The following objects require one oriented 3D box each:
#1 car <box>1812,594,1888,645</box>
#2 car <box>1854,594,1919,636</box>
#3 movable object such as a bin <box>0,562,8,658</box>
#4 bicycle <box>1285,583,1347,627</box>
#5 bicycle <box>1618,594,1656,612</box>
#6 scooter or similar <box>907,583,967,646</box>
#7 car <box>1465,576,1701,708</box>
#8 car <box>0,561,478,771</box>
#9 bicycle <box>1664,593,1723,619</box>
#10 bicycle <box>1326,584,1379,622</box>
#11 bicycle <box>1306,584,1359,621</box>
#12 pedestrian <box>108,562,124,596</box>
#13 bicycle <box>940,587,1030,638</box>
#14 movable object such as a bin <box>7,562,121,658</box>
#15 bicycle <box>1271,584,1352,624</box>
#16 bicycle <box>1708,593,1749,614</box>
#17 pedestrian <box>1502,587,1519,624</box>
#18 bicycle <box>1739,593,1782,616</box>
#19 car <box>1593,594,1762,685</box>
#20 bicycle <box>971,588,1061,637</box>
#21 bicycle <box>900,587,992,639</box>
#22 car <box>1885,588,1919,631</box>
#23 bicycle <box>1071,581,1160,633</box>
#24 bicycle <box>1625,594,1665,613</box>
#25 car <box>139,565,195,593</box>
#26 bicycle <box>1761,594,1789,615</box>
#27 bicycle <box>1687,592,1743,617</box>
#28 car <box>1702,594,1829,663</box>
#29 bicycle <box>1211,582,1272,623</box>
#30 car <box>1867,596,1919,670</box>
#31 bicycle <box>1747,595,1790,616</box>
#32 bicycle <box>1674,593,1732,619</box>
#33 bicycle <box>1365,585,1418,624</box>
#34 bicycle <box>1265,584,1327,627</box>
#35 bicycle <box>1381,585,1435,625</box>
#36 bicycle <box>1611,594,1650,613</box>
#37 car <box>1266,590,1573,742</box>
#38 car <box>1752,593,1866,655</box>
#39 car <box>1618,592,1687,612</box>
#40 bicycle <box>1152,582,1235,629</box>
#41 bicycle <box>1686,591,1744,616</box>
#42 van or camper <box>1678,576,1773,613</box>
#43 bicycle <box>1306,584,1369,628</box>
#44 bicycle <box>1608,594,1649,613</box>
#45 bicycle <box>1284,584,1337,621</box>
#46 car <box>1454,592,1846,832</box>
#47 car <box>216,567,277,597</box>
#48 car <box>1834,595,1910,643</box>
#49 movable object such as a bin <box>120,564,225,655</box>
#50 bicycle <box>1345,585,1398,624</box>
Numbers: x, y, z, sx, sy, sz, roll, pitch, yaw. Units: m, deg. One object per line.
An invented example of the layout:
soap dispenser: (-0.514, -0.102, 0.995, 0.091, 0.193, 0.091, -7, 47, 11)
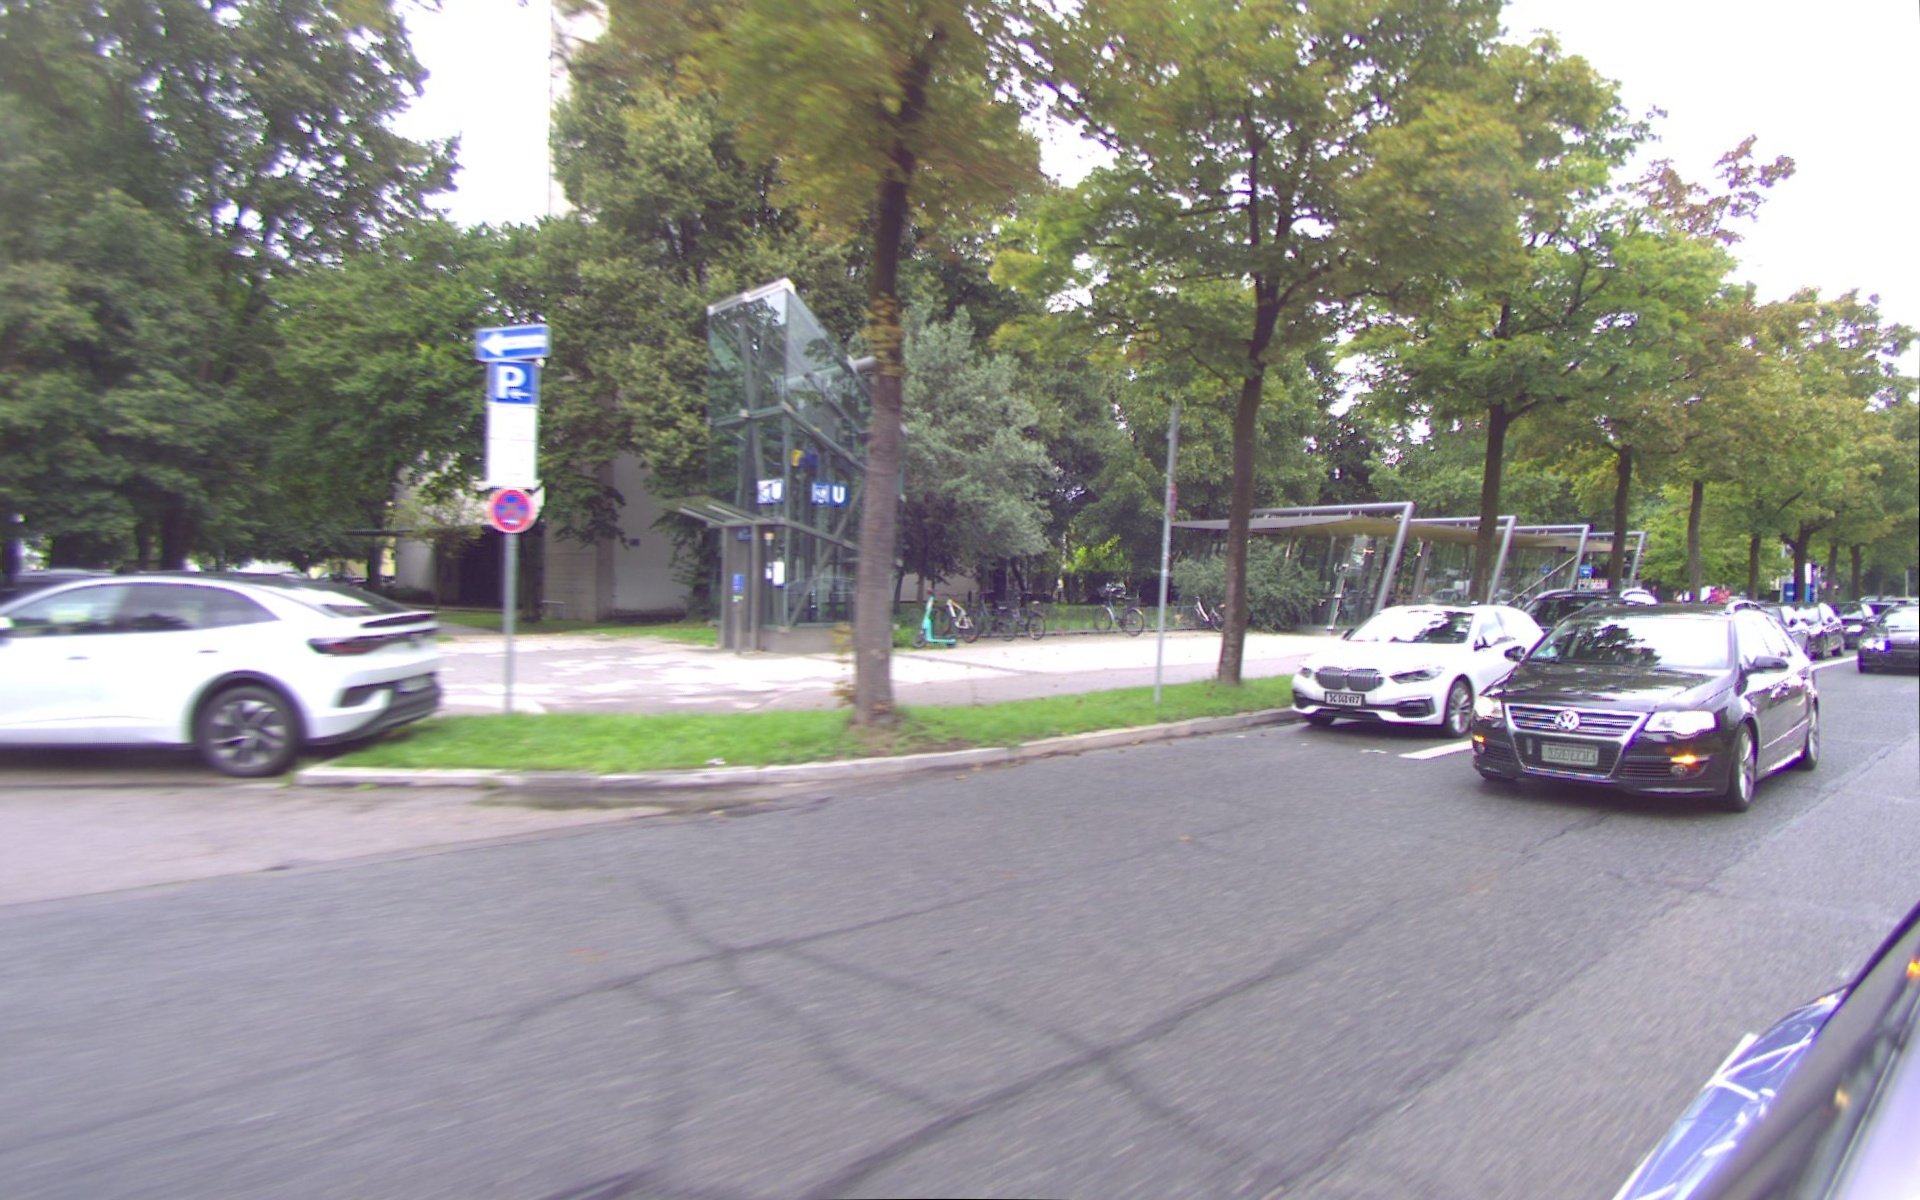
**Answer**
car: (28.971, 0.577, 32.918, 4.023, 1.554, 1.543, 0, 0, -44)
car: (36.405, 0.560, 39.640, 4.429, 1.527, 1.703, 0, -1, -44)
movable object such as a bin: (-15.051, 0.136, 15.030, 1.292, 1.427, 1.338, 0, 1, -42)
bicycle: (10.979, 0.148, 31.141, 2.506, 1.296, 0.646, 0, 1, -41)
bicycle: (45.584, 0.218, 68.135, 2.088, 1.168, 0.718, 1, 1, 0)
scooter or similar: (-0.469, 0.290, 20.778, 1.214, 1.248, 0.421, 0, 0, -39)
car: (9.457, 0.522, 15.211, 4.516, 1.696, 1.789, 0, 1, -42)
car: (-7.095, 0.510, 8.933, 4.751, 1.645, 1.975, 0, 0, -3)
bicycle: (37.631, 0.290, 51.972, 0.520, 1.171, 2.344, 1, 3, -40)
bicycle: (13.900, 0.101, 35.787, 2.506, 1.296, 0.646, 0, 1, -41)
bicycle: (13.400, 0.070, 36.370, 2.506, 1.296, 0.646, 0, 1, -41)
pedestrian: (-46.131, -1.157, 55.345, 0.610, 1.817, 0.595, 1, 1, 43)
bicycle: (0.560, 0.272, 24.198, 0.636, 1.102, 2.547, 0, 1, -40)
movable object such as a bin: (-14.065, 0.132, 15.918, 1.292, 1.427, 1.338, 0, 1, -42)
bicycle: (11.845, 0.116, 34.147, 2.534, 1.296, 0.486, 2, 1, 35)
bicycle: (45.853, 0.204, 60.386, 0.556, 1.156, 1.813, 0, 3, -35)
pedestrian: (23.341, 0.226, 42.899, 0.575, 1.532, 0.687, 1, 0, 31)
bicycle: (47.579, 0.253, 60.190, 1.936, 1.227, 0.559, 4, 3, 39)
car: (13.258, 0.639, 18.616, 4.230, 1.457, 1.636, 0, 1, -42)
bicycle: (1.350, 0.271, 24.892, 0.636, 1.102, 2.547, 0, 1, -40)
bicycle: (-0.359, 0.271, 23.430, 0.636, 1.102, 2.547, 0, 1, -40)
car: (40.726, 0.406, 42.839, 4.819, 1.746, 1.750, 0, 0, -41)
bicycle: (4.131, 0.163, 27.055, 0.636, 1.296, 2.547, 0, 1, -40)
bicycle: (45.562, 0.220, 67.329, 2.088, 1.168, 0.718, 1, 1, 0)
car: (-47.443, -1.270, 60.516, 4.441, 1.614, 1.969, 2, 1, 43)
bicycle: (49.825, 0.256, 61.874, 1.962, 1.213, 0.864, 0, 3, -37)
bicycle: (40.615, 0.232, 54.467, 0.520, 1.171, 2.344, 1, 3, -40)
car: (19.154, 0.605, 24.014, 4.007, 1.471, 1.637, 0, 1, -41)
bicycle: (9.244, 0.060, 33.164, 2.506, 1.296, 0.605, 0, 1, -41)
car: (20.770, 0.662, 21.371, 4.589, 1.447, 1.818, 0, 2, -41)
bicycle: (46.697, 0.312, 58.496, 0.556, 1.156, 1.814, 1, 3, -31)
bicycle: (38.460, 0.290, 52.379, 2.337, 1.171, 0.521, 5, 3, 42)
bicycle: (14.894, 0.148, 34.880, 2.506, 1.296, 0.646, 0, 1, -41)
bicycle: (10.528, 0.147, 31.647, 2.506, 1.296, 0.646, 0, 1, -41)
bicycle: (15.168, 0.153, 34.228, 2.506, 1.296, 0.646, 0, 1, -41)
bicycle: (44.067, 0.221, 66.511, 2.088, 1.168, 0.718, 1, 1, 0)
car: (5.558, 0.634, 11.967, 4.405, 1.452, 1.656, 0, 1, -42)
car: (22.945, 0.588, 27.300, 4.149, 1.527, 1.721, 0, 1, -41)
car: (55.328, 0.140, 80.913, 1.856, 1.516, 4.304, 0, 1, -43)
bicycle: (6.920, 0.134, 30.125, 0.636, 1.296, 2.547, 0, 1, -40)
bicycle: (40.285, 0.202, 54.019, 0.520, 1.171, 2.344, 1, 3, -40)
van or camper: (49.499, -0.357, 65.410, 6.069, 2.325, 2.153, 0, 1, -23)
bicycle: (11.421, 0.167, 30.571, 2.506, 1.296, 0.646, 0, 1, -41)
bicycle: (43.153, 0.223, 65.352, 2.091, 1.168, 0.718, 1, 1, 5)
bicycle: (12.772, 0.068, 36.818, 2.506, 1.296, 0.646, 0, 1, -41)
car: (6.011, 0.688, 8.554, 4.592, 1.493, 1.749, 0, 1, -43)
car: (-40.808, -1.038, 57.877, 4.441, 1.614, 1.969, 2, 1, 43)
car: (32.636, 0.628, 36.173, 4.326, 1.553, 1.722, 0, 1, -44)
movable object such as a bin: (-13.076, 0.130, 16.799, 1.292, 1.427, 1.338, 0, 1, -42)
bicycle: (14.376, 0.144, 35.296, 2.506, 1.296, 0.646, 0, 1, -41)
